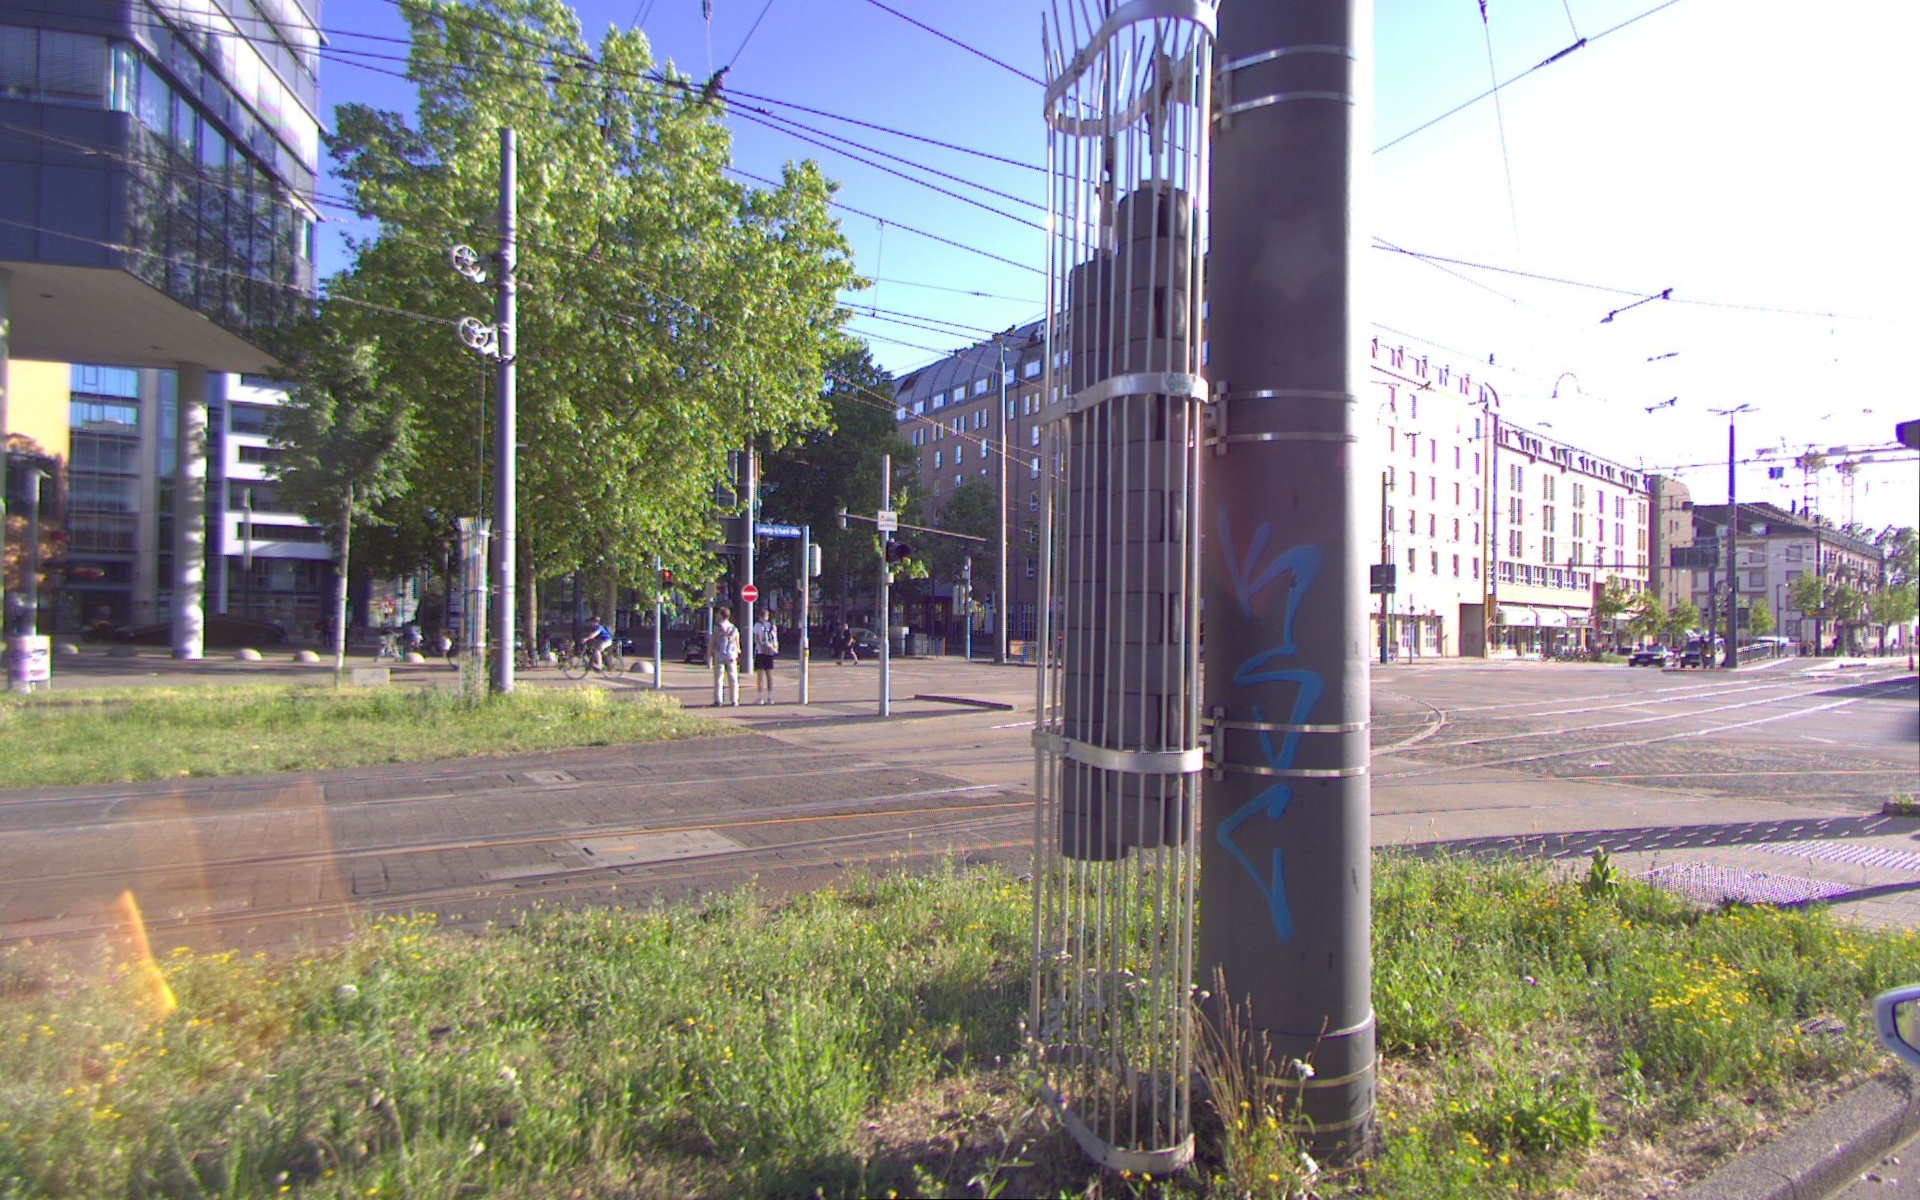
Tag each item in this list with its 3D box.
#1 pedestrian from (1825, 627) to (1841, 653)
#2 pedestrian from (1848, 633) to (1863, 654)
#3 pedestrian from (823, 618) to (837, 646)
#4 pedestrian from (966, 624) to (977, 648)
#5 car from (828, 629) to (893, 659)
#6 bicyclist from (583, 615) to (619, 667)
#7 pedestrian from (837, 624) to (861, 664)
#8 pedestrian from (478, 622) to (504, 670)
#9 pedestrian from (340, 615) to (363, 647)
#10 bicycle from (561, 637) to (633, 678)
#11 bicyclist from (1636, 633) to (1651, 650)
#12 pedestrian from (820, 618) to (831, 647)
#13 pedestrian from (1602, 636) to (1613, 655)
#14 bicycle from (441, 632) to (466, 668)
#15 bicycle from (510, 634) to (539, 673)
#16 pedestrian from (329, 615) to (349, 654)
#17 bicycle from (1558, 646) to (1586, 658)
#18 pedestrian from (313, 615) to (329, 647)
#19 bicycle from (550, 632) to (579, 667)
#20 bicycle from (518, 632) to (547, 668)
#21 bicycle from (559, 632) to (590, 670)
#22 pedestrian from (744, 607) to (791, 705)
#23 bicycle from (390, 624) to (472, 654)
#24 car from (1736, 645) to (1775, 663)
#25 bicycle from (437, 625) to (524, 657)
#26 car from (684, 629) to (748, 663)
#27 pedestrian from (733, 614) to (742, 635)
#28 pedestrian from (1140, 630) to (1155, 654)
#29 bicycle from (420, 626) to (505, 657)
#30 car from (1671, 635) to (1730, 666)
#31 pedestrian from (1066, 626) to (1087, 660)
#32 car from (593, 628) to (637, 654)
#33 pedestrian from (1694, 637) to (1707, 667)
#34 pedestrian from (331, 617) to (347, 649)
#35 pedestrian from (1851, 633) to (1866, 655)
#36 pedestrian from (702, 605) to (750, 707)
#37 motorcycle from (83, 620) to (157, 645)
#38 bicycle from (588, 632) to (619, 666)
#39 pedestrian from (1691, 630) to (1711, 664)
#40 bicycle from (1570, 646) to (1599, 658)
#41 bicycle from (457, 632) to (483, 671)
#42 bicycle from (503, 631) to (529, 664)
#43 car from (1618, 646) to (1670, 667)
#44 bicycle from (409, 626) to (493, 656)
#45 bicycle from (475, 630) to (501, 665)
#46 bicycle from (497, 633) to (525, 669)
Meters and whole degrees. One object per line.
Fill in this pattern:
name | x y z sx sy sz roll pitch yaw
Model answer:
pedestrian | 67.211 3.084 77.346 0.850 1.911 0.734 1 0 39
pedestrian | 74.061 3.559 83.084 0.850 1.692 0.781 1 0 39
pedestrian | -8.497 2.087 65.590 0.630 1.853 0.737 2 -1 -37
pedestrian | 0.806 2.551 71.234 0.599 1.702 0.482 0 0 -32
car | -4.981 2.156 49.926 1.653 1.433 3.965 2 -2 -32
bicyclist | -10.475 1.181 29.310 0.748 1.480 0.685 2 -2 -42
pedestrian | -4.835 1.894 43.769 0.821 1.702 0.711 0 -1 -29
pedestrian | -17.035 1.645 36.504 0.819 1.702 0.712 0 0 -23
pedestrian | -31.649 1.635 52.270 0.685 1.644 0.734 1 -1 1
bicycle | -10.553 1.664 29.244 1.837 1.152 0.685 2 -2 -42
bicyclist | 56.020 3.395 82.287 0.919 1.395 0.802 2 -2 -42
pedestrian | -8.813 2.130 66.011 0.581 1.853 0.745 1 -1 -1
pedestrian | 61.310 4.339 95.172 0.560 1.787 0.711 2 -2 -38
bicycle | -16.877 1.645 33.450 0.592 1.143 2.348 1 -1 -30
bicycle | -13.549 1.634 31.248 0.592 1.143 2.349 0 -1 -29
pedestrian | -27.489 1.523 44.452 0.691 1.674 0.700 2 -1 -32
bicycle | 50.027 4.252 82.133 0.477 0.933 2.024 1 -2 -29
pedestrian | -34.936 1.689 54.930 0.691 1.737 0.727 1 -1 -33
bicycle | -13.815 1.712 35.073 0.592 1.143 2.348 1 -1 -30
bicycle | -14.456 1.661 33.954 0.592 1.143 2.348 1 -1 -30
bicycle | -12.339 1.612 32.082 0.592 1.143 2.349 0 -1 -29
pedestrian | -3.812 1.087 19.883 0.666 1.894 0.727 1 -1 -33
bicycle | -25.243 1.863 47.996 1.021 1.371 3.342 0 -2 44
car | 65.106 4.422 82.176 4.267 1.467 1.823 2 -4 -42
bicycle | -21.343 1.825 44.807 1.021 1.371 3.342 0 -2 44
car | -10.681 1.995 43.847 1.652 1.425 3.968 2 -2 -30
pedestrian | -17.336 1.875 78.104 0.557 1.594 0.636 2 0 -20
pedestrian | 13.371 2.984 71.773 0.734 1.688 0.745 1 -1 -38
bicycle | -22.837 1.883 46.137 1.021 1.371 3.342 0 -2 44
car | 44.935 3.067 60.956 4.071 1.860 1.826 2 -3 -38
pedestrian | 6.016 2.201 51.846 0.824 1.702 0.708 0 -1 -39
car | -19.823 2.351 57.608 1.652 1.425 3.968 2 -2 -30
pedestrian | 40.194 2.830 54.523 0.573 1.598 0.644 0 -1 36
pedestrian | -34.358 1.805 55.571 0.691 1.737 0.727 1 -1 -33
pedestrian | 73.671 3.603 82.392 0.850 1.692 0.734 1 0 39
pedestrian | -4.484 1.063 19.240 0.691 1.894 0.728 1 -1 -31
motorcycle | -37.210 1.452 44.526 2.308 1.072 0.828 1 -1 -22
bicycle | -12.630 1.708 35.529 0.592 1.143 2.348 1 -1 -30
pedestrian | 38.919 2.467 52.755 0.589 1.750 0.715 2 -2 -39
bicycle | 51.218 4.252 82.409 0.477 0.933 2.024 1 -2 -29
bicycle | -15.094 1.568 30.912 0.592 1.143 2.349 0 -1 -29
bicycle | -15.919 1.679 35.960 0.592 1.143 2.348 1 -1 -30
car | 43.597 3.565 63.979 4.199 1.285 1.822 2 -4 -43
bicycle | -23.887 1.929 47.208 1.021 1.371 3.342 0 -2 44
bicycle | -15.941 1.582 33.903 0.592 1.143 2.348 1 -1 -30
bicycle | -15.055 1.698 33.672 0.592 1.143 2.348 1 -1 -30
